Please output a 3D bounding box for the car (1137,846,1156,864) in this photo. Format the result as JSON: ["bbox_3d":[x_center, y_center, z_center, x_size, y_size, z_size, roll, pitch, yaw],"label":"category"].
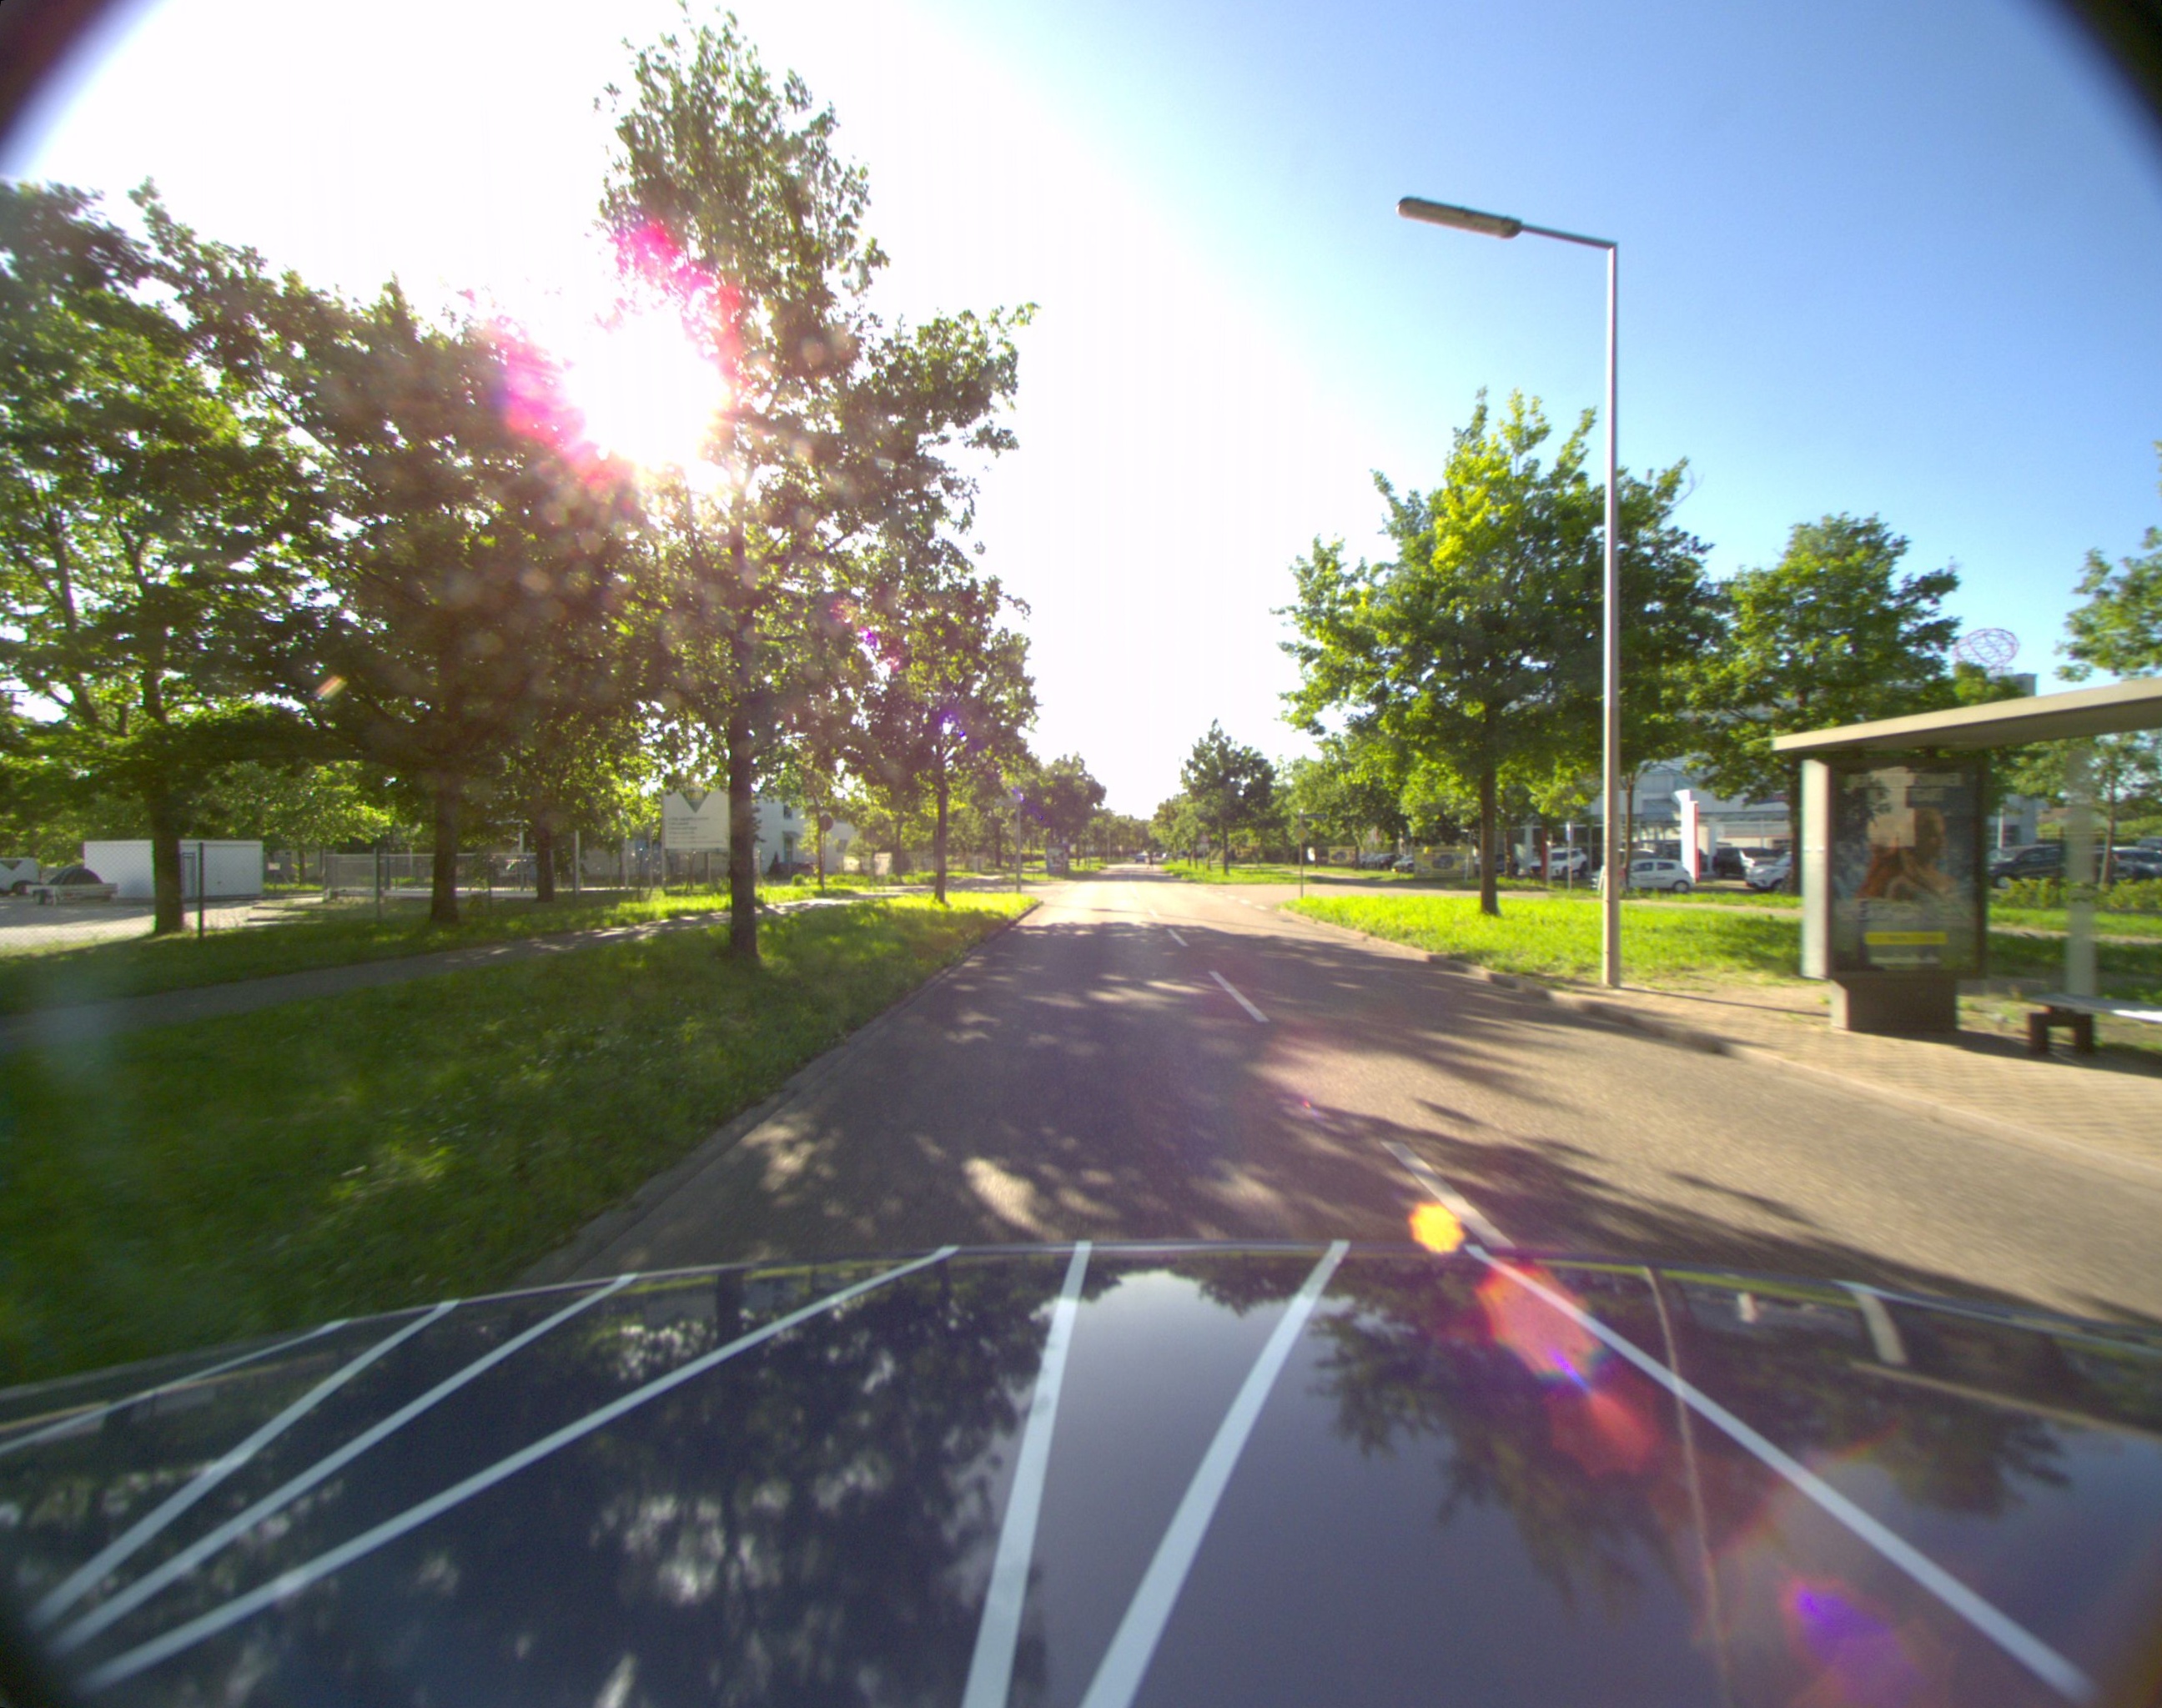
[{"bbox_3d":[7.490,0.142,86.469,1.997,2.002,4.002,-1,0,6],"label":"car"}]

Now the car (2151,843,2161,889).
[{"bbox_3d":[44.719,0.435,29.059,3.992,1.827,2.002,-2,1,17],"label":"car"}]

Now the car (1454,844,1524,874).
[{"bbox_3d":[27.139,0.329,50.532,4.004,1.827,1.996,-3,1,-23],"label":"car"}]

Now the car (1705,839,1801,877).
[{"bbox_3d":[37.812,0.158,42.980,2.297,1.928,5.835,-2,1,23],"label":"car"}]

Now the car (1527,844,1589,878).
[{"bbox_3d":[28.514,0.374,45.375,4.007,1.827,1.995,-3,1,-40],"label":"car"}]

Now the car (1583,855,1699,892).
[{"bbox_3d":[25.625,0.885,34.924,3.885,1.493,2.003,-2,1,21],"label":"car"}]

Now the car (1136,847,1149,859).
[{"bbox_3d":[10.803,-0.155,133.086,1.997,2.002,4.002,-1,0,6],"label":"car"}]

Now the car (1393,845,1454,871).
[{"bbox_3d":[25.868,0.291,57.413,4.004,1.827,1.996,-3,1,-23],"label":"car"}]

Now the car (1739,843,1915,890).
[{"bbox_3d":[32.138,0.542,32.939,5.039,1.827,2.003,-2,1,23],"label":"car"}]

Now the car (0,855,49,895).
[{"bbox_3d":[-55.369,1.129,37.297,1.996,2.002,5.121,-2,1,17],"label":"car"}]

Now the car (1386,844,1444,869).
[{"bbox_3d":[26.512,0.179,60.328,4.004,1.827,1.996,-3,1,-23],"label":"car"}]

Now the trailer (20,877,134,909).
[{"bbox_3d":[-42.342,1.627,32.054,3.589,1.259,1.733,-1,0,17],"label":"trailer"}]
